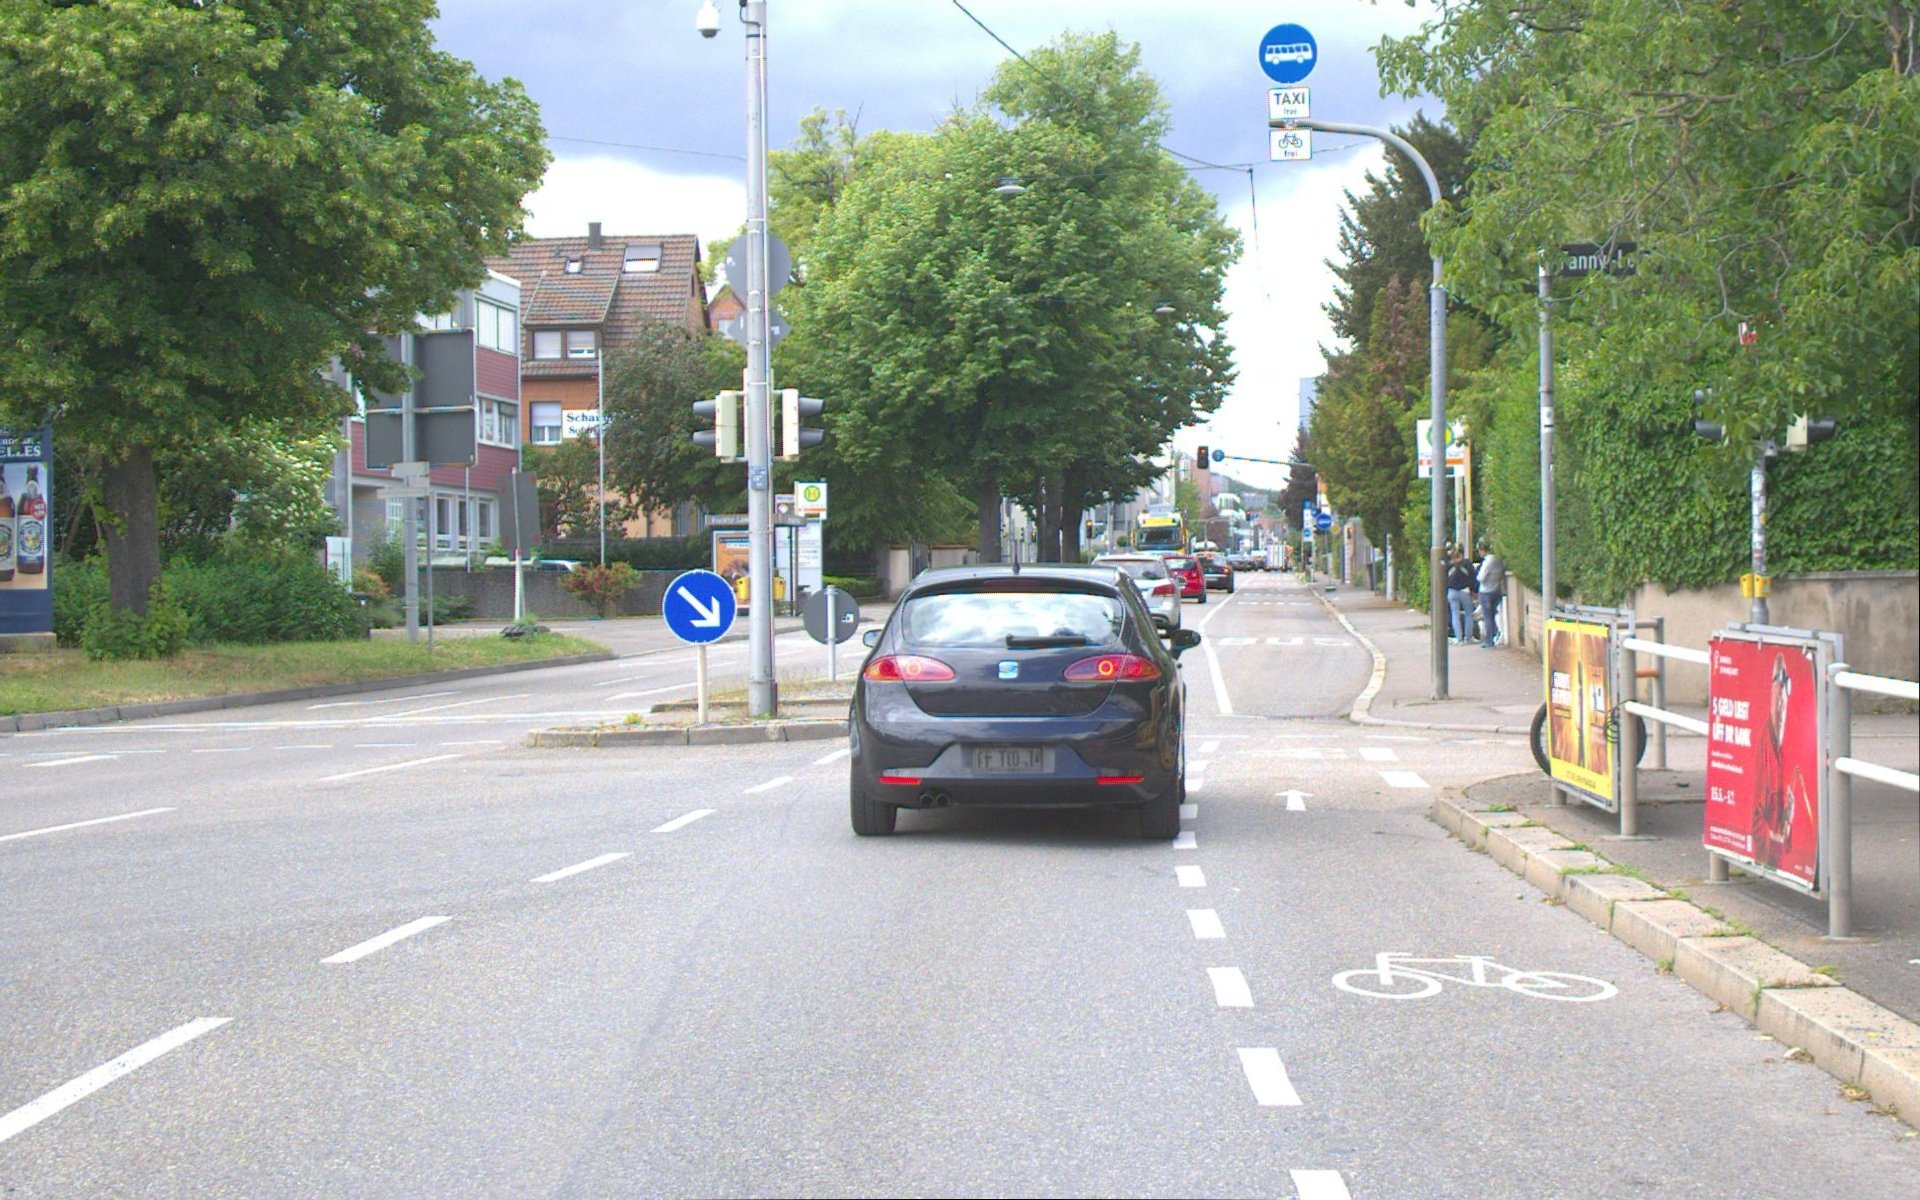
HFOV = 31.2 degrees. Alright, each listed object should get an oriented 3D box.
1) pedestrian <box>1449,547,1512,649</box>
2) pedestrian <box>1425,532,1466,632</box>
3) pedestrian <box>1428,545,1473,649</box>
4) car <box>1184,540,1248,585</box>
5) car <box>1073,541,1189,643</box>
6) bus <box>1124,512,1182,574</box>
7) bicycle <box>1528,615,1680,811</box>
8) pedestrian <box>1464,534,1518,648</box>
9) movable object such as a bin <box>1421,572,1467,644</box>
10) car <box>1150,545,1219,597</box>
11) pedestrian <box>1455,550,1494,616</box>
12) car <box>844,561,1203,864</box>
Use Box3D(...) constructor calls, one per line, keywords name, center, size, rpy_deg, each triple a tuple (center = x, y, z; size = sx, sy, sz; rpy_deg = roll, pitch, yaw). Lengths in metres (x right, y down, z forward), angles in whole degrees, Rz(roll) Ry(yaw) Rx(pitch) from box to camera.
Box3D(name="pedestrian", center=(7.569, -0.035, 49.952), size=(0.621, 1.422, 0.511), rpy_deg=(-3, 2, 43))
Box3D(name="pedestrian", center=(8.424, -0.311, 59.693), size=(0.586, 1.706, 0.529), rpy_deg=(-3, 0, 4))
Box3D(name="pedestrian", center=(7.361, -0.045, 51.586), size=(0.550, 1.512, 0.361), rpy_deg=(-3, 1, 14))
Box3D(name="car", center=(9.748, -1.440, 130.807), size=(1.994, 1.678, 3.998), rpy_deg=(-1, 1, 11))
Box3D(name="car", center=(3.091, -0.174, 61.439), size=(1.819, 1.693, 4.252), rpy_deg=(-1, 1, 6))
Box3D(name="bus", center=(10.050, -2.982, 178.450), size=(2.869, 3.125, 6.397), rpy_deg=(-1, 1, 4))
Box3D(name="bicycle", center=(3.619, 0.617, 19.415), size=(0.628, 1.025, 1.504), rpy_deg=(0, 1, 2))
Box3D(name="pedestrian", center=(7.490, -0.129, 48.500), size=(0.543, 1.550, 0.471), rpy_deg=(-5, 1, -3))
Box3D(name="movable object such as a bin", center=(7.399, 0.122, 52.509), size=(0.441, 1.054, 0.567), rpy_deg=(-4, 1, 31))
Box3D(name="car", center=(6.754, -0.891, 103.851), size=(1.941, 1.476, 4.253), rpy_deg=(-2, 1, 3))
Box3D(name="pedestrian", center=(7.743, -0.257, 51.724), size=(0.454, 0.961, 0.383), rpy_deg=(-5, 1, -1))
Box3D(name="car", center=(0.359, 0.539, 19.030), size=(1.759, 1.444, 3.714), rpy_deg=(1, 1, 1))
